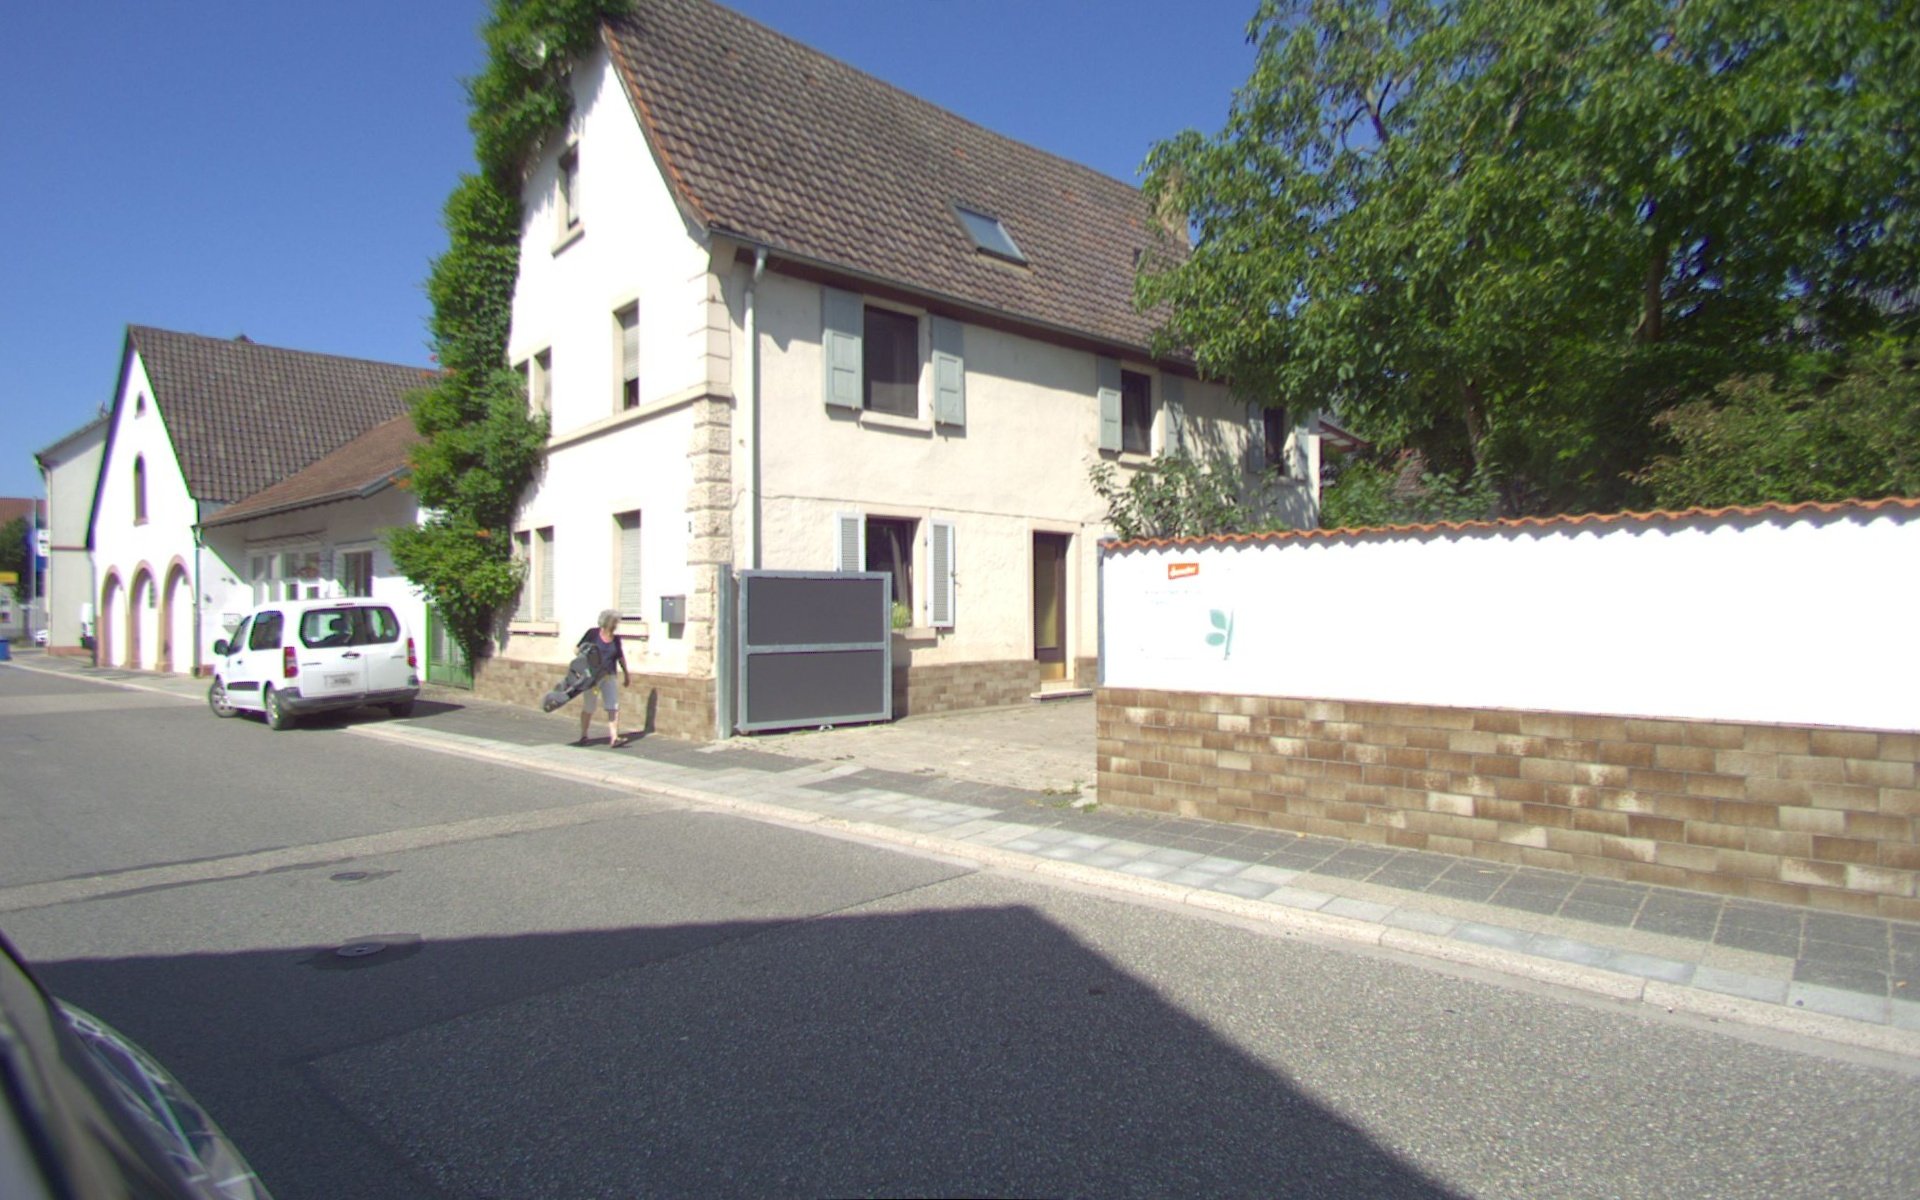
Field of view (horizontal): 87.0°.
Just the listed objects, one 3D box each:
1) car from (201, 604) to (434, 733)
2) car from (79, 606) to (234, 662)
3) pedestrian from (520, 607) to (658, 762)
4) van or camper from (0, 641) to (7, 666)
[{"bbox_3d":[-9.774,0.927,15.247,4.428,1.659,1.835,-1,-1,42],"label":"car"},{"bbox_3d":[-34.417,1.421,43.464,5.111,2.213,2.126,0,-1,-40],"label":"car"},{"bbox_3d":[-4.051,0.873,11.046,1.139,1.563,1.002,-2,-1,42],"label":"pedestrian"},{"bbox_3d":[-38.497,2.149,40.456,0.582,0.959,0.600,0,-1,-44],"label":"van or camper"}]
